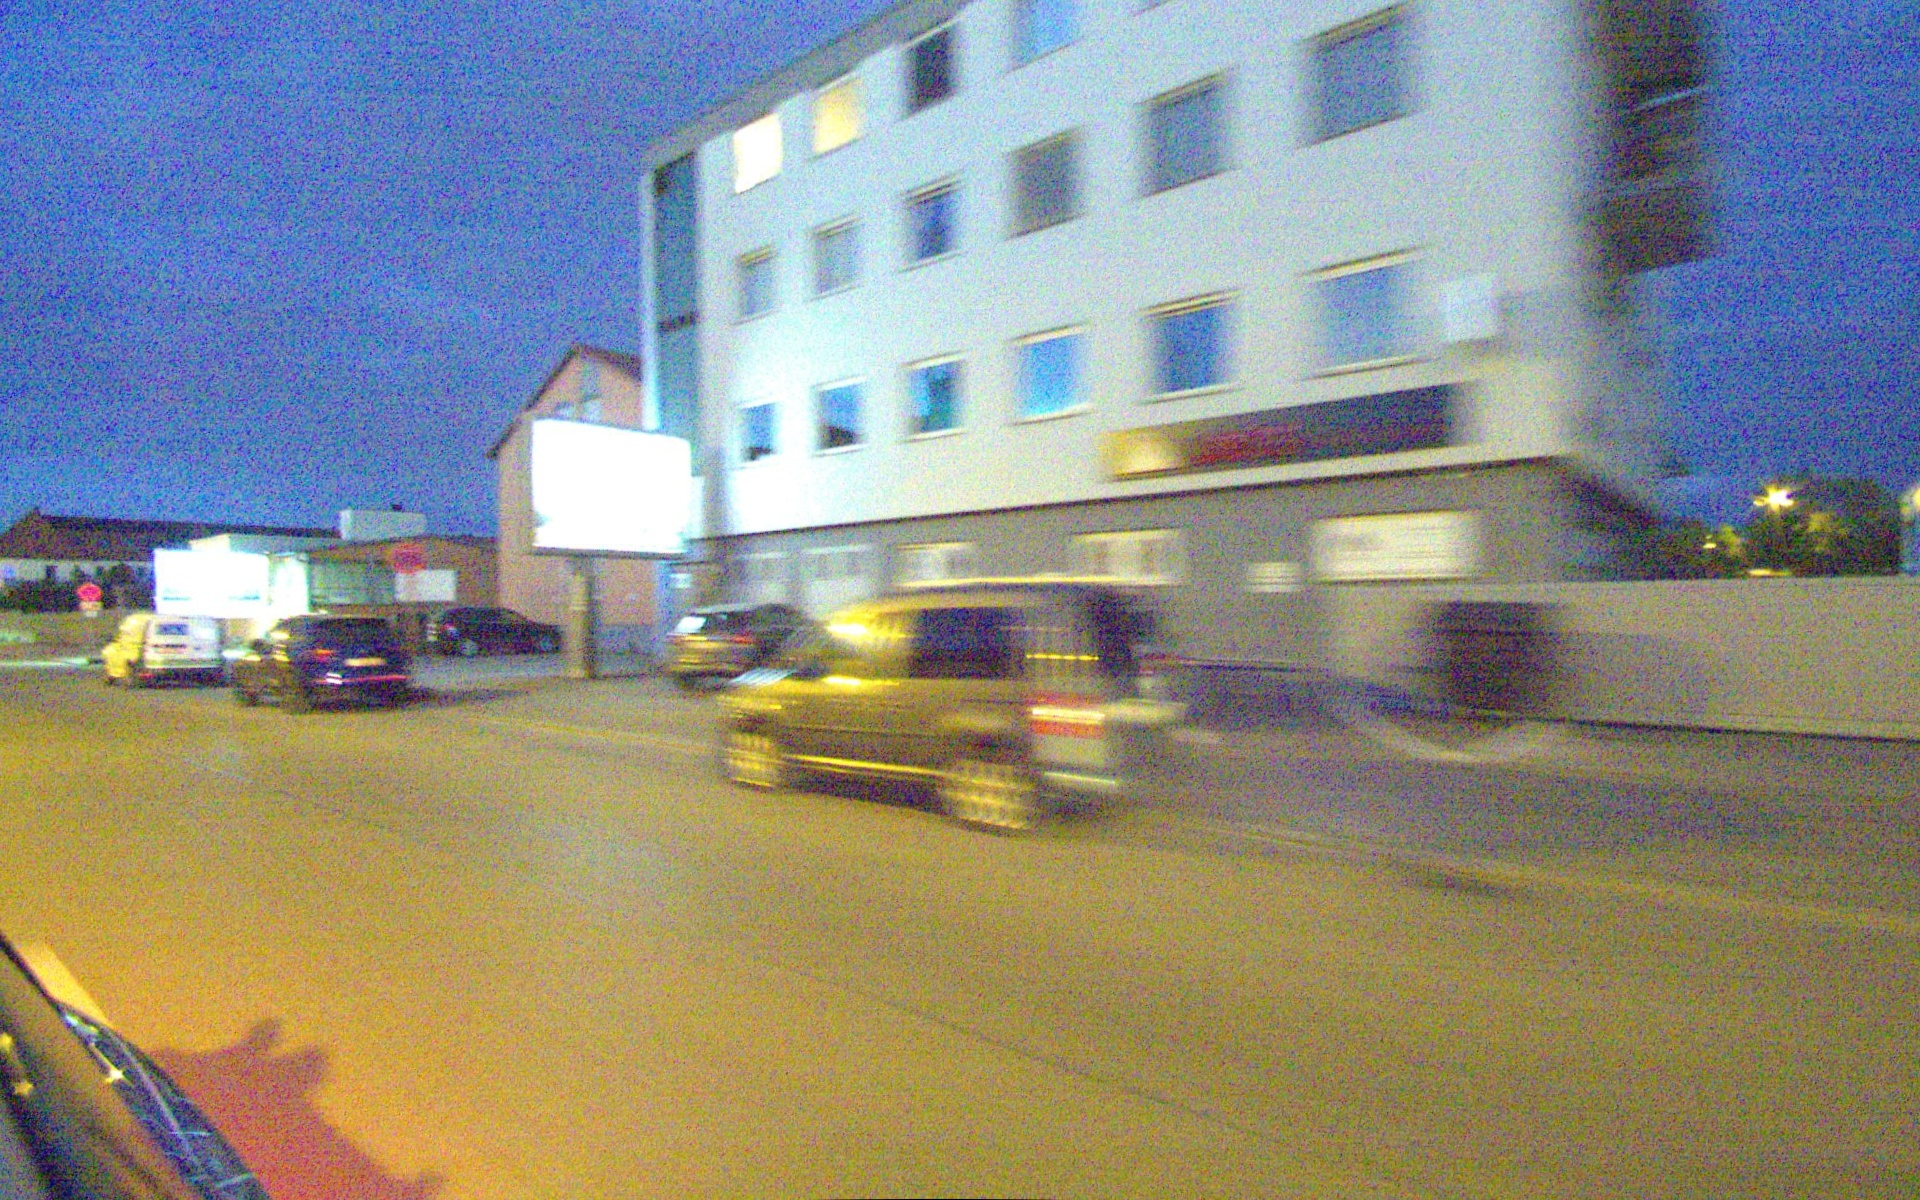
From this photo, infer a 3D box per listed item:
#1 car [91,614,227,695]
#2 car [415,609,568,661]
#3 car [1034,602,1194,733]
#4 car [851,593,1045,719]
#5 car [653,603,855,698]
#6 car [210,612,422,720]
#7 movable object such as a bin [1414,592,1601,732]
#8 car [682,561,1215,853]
[{"bbox_3d":[-19.936,1.300,25.118,4.875,1.812,1.785,-2,-2,41],"label":"car"},{"bbox_3d":[-15.918,1.164,34.517,1.922,1.666,4.352,-2,-2,43],"label":"car"},{"bbox_3d":[2.144,0.801,13.581,1.775,1.451,4.399,-1,-1,11],"label":"car"},{"bbox_3d":[0.015,0.752,15.127,1.979,1.563,4.655,-1,-1,11],"label":"car"},{"bbox_3d":[-3.717,0.884,19.165,1.982,1.572,4.392,-1,-1,16],"label":"car"},{"bbox_3d":[-11.706,1.112,18.265,4.812,1.701,1.927,-2,-2,41],"label":"car"},{"bbox_3d":[6.593,0.683,12.164,1.608,1.511,1.838,-2,-1,41],"label":"movable object such as a bin"},{"bbox_3d":[-0.287,0.729,8.573,4.410,1.863,1.795,-1,-2,39],"label":"car"}]
